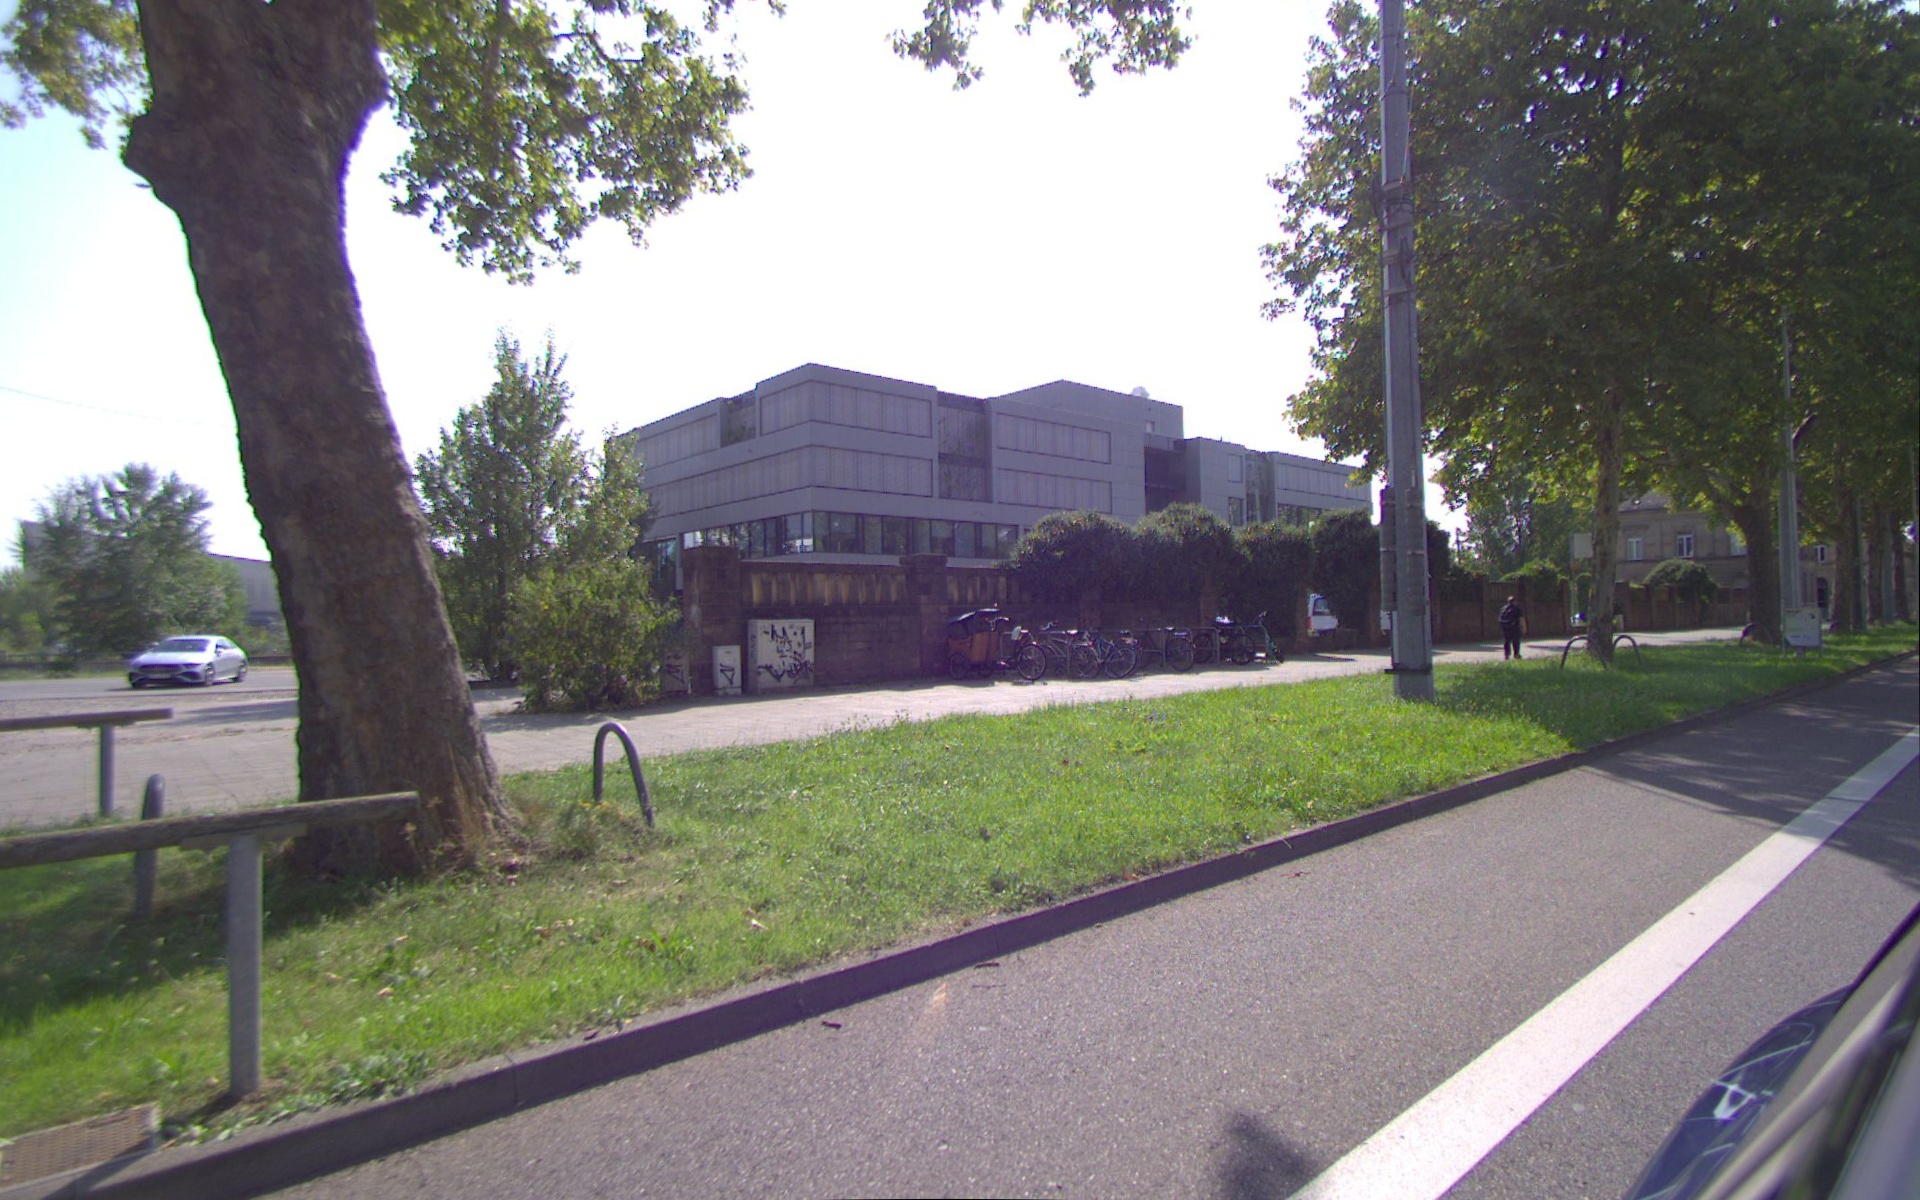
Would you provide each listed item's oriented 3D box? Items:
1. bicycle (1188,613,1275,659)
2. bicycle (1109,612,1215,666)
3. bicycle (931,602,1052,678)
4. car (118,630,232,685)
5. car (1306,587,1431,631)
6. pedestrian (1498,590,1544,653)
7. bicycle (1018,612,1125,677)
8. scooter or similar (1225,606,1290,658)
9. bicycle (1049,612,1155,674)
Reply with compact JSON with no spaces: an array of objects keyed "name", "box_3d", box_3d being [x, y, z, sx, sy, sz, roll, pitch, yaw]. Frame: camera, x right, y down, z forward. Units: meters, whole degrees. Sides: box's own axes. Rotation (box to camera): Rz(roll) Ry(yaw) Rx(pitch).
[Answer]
[{"name":"bicycle","box_3d":[6.347,0.834,23.729,0.722,1.019,1.868,0,-1,-43]},{"name":"bicycle","box_3d":[4.253,0.811,21.468,0.731,1.090,2.175,0,-1,-42]},{"name":"bicycle","box_3d":[0.561,0.705,18.945,0.982,1.293,2.247,-1,2,-42]},{"name":"car","box_3d":[-22.404,1.605,29.030,1.650,1.401,3.786,-1,-1,-22]},{"name":"car","box_3d":[17.171,0.392,42.664,1.877,1.756,4.525,0,-1,-43]},{"name":"pedestrian","box_3d":[14.098,0.530,25.435,0.773,1.534,0.785,1,-2,-42]},{"name":"bicycle","box_3d":[2.107,0.814,19.402,0.729,1.090,2.179,0,1,-37]},{"name":"scooter or similar","box_3d":[7.193,0.750,24.538,0.529,1.206,1.510,0,0,-37]},{"name":"bicycle","box_3d":[2.757,0.810,19.861,0.729,1.090,2.179,0,1,-37]}]
